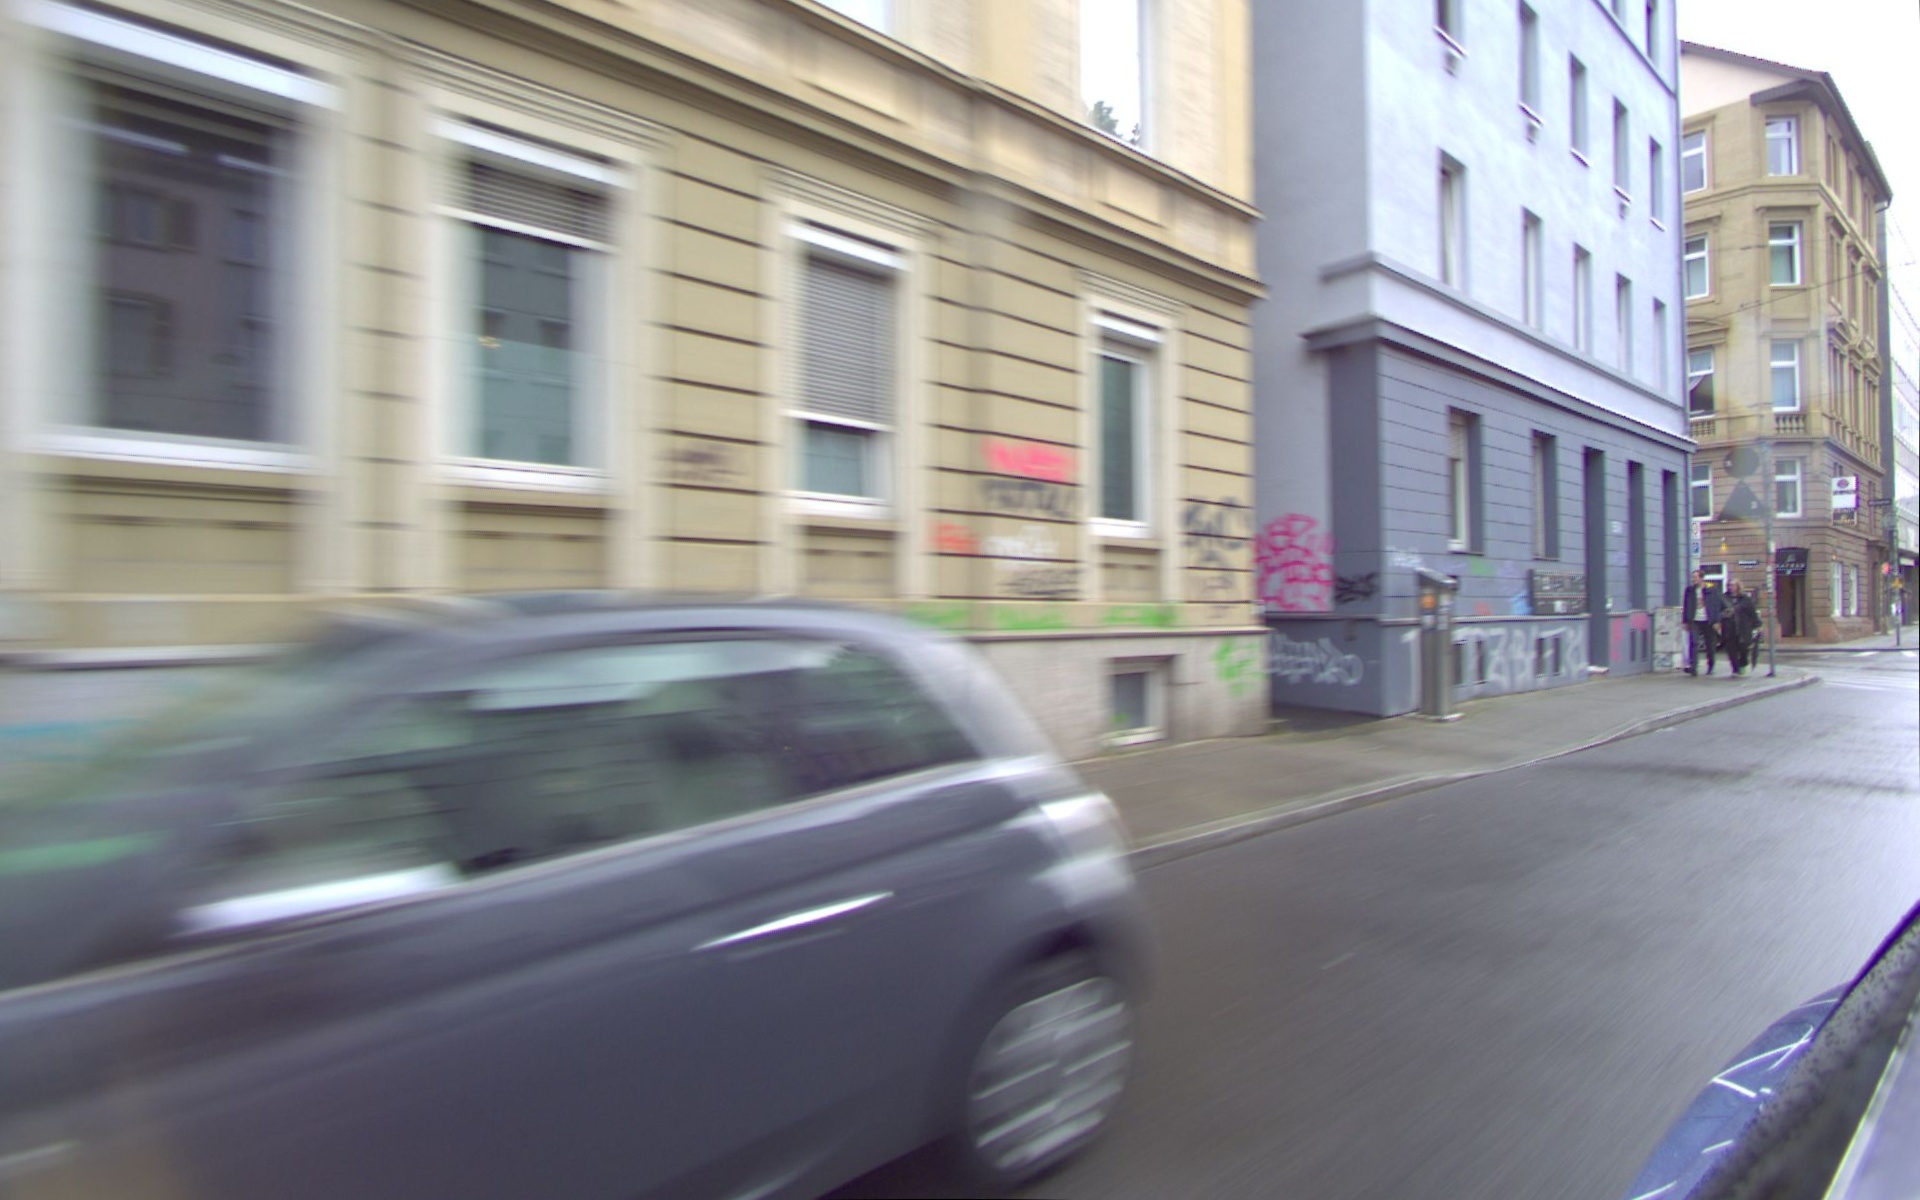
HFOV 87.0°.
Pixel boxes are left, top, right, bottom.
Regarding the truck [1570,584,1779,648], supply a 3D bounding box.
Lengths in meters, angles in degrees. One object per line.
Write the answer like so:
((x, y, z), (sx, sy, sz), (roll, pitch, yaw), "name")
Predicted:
((22.244, 0.478, 31.675), (2.049, 1.841, 5.063), (0, 0, -43), "truck")

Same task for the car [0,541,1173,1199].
((-1.457, 0.700, 2.132), (3.931, 1.508, 1.741), (0, -1, -42), "car")

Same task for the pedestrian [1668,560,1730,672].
((13.839, 0.299, 18.959), (0.807, 2.039, 0.737), (0, -2, -42), "pedestrian")

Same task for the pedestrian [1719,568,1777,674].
((14.353, 0.374, 18.431), (0.807, 1.876, 0.662), (0, -2, -42), "pedestrian")
